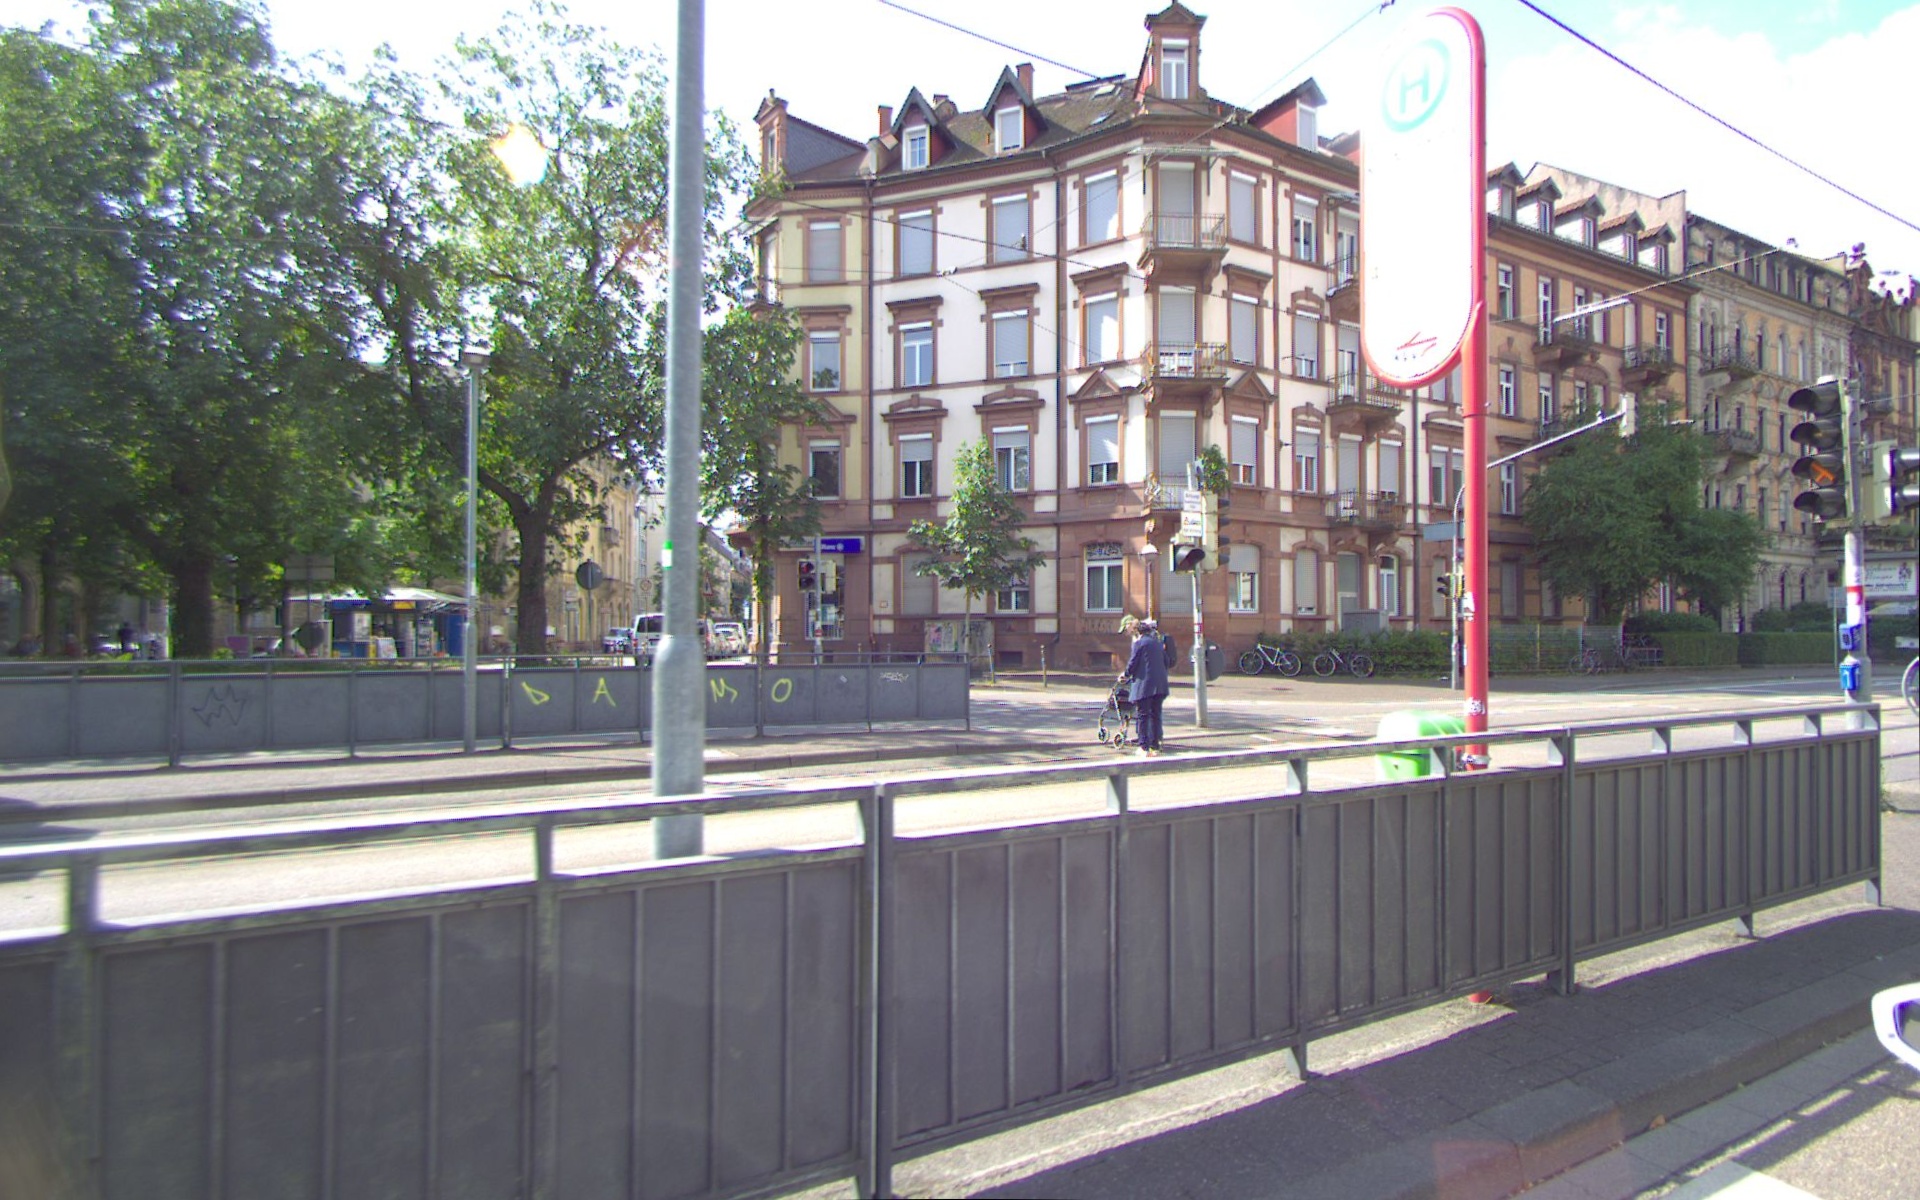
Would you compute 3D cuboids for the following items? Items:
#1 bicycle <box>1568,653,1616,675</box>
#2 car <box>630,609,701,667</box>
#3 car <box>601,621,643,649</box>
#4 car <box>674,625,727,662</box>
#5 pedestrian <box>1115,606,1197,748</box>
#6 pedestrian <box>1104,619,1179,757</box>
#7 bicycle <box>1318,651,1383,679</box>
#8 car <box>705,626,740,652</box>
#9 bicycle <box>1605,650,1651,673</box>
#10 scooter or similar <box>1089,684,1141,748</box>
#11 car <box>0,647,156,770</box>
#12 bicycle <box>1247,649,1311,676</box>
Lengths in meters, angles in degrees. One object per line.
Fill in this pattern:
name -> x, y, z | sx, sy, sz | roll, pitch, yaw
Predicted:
bicycle -> 19.307, 1.949, 30.679 | 1.688, 0.662, 0.384 | 1, -1, -25
car -> -10.877, 1.388, 37.342 | 1.821, 2.015, 3.945 | 0, -1, -5
car -> -23.437, 2.411, 69.792 | 1.963, 1.795, 3.995 | 0, -1, -8
car -> -12.142, 2.017, 47.222 | 1.880, 1.685, 3.937 | 0, -2, -6
pedestrian -> 2.433, 0.936, 12.515 | 0.660, 1.697, 0.767 | 1, -2, -30
pedestrian -> 2.128, 1.006, 11.796 | 0.574, 1.566, 0.664 | 1, -1, -30
bicycle -> 11.080, 1.845, 28.559 | 1.676, 0.757, 0.386 | 0, -1, 7
car -> -14.799, 2.421, 62.842 | 1.685, 1.575, 3.916 | 0, -2, -7
bicycle -> 21.169, 1.943, 31.819 | 1.688, 0.686, 0.384 | 1, -1, -25
scooter or similar -> 1.897, 1.411, 12.287 | 0.480, 0.730, 0.412 | 1, -1, -30
car -> -15.138, 1.648, 15.525 | 3.952, 1.800, 1.673 | 1, -2, -29
bicycle -> 9.129, 1.796, 28.771 | 1.676, 0.757, 0.386 | 0, -1, 7
